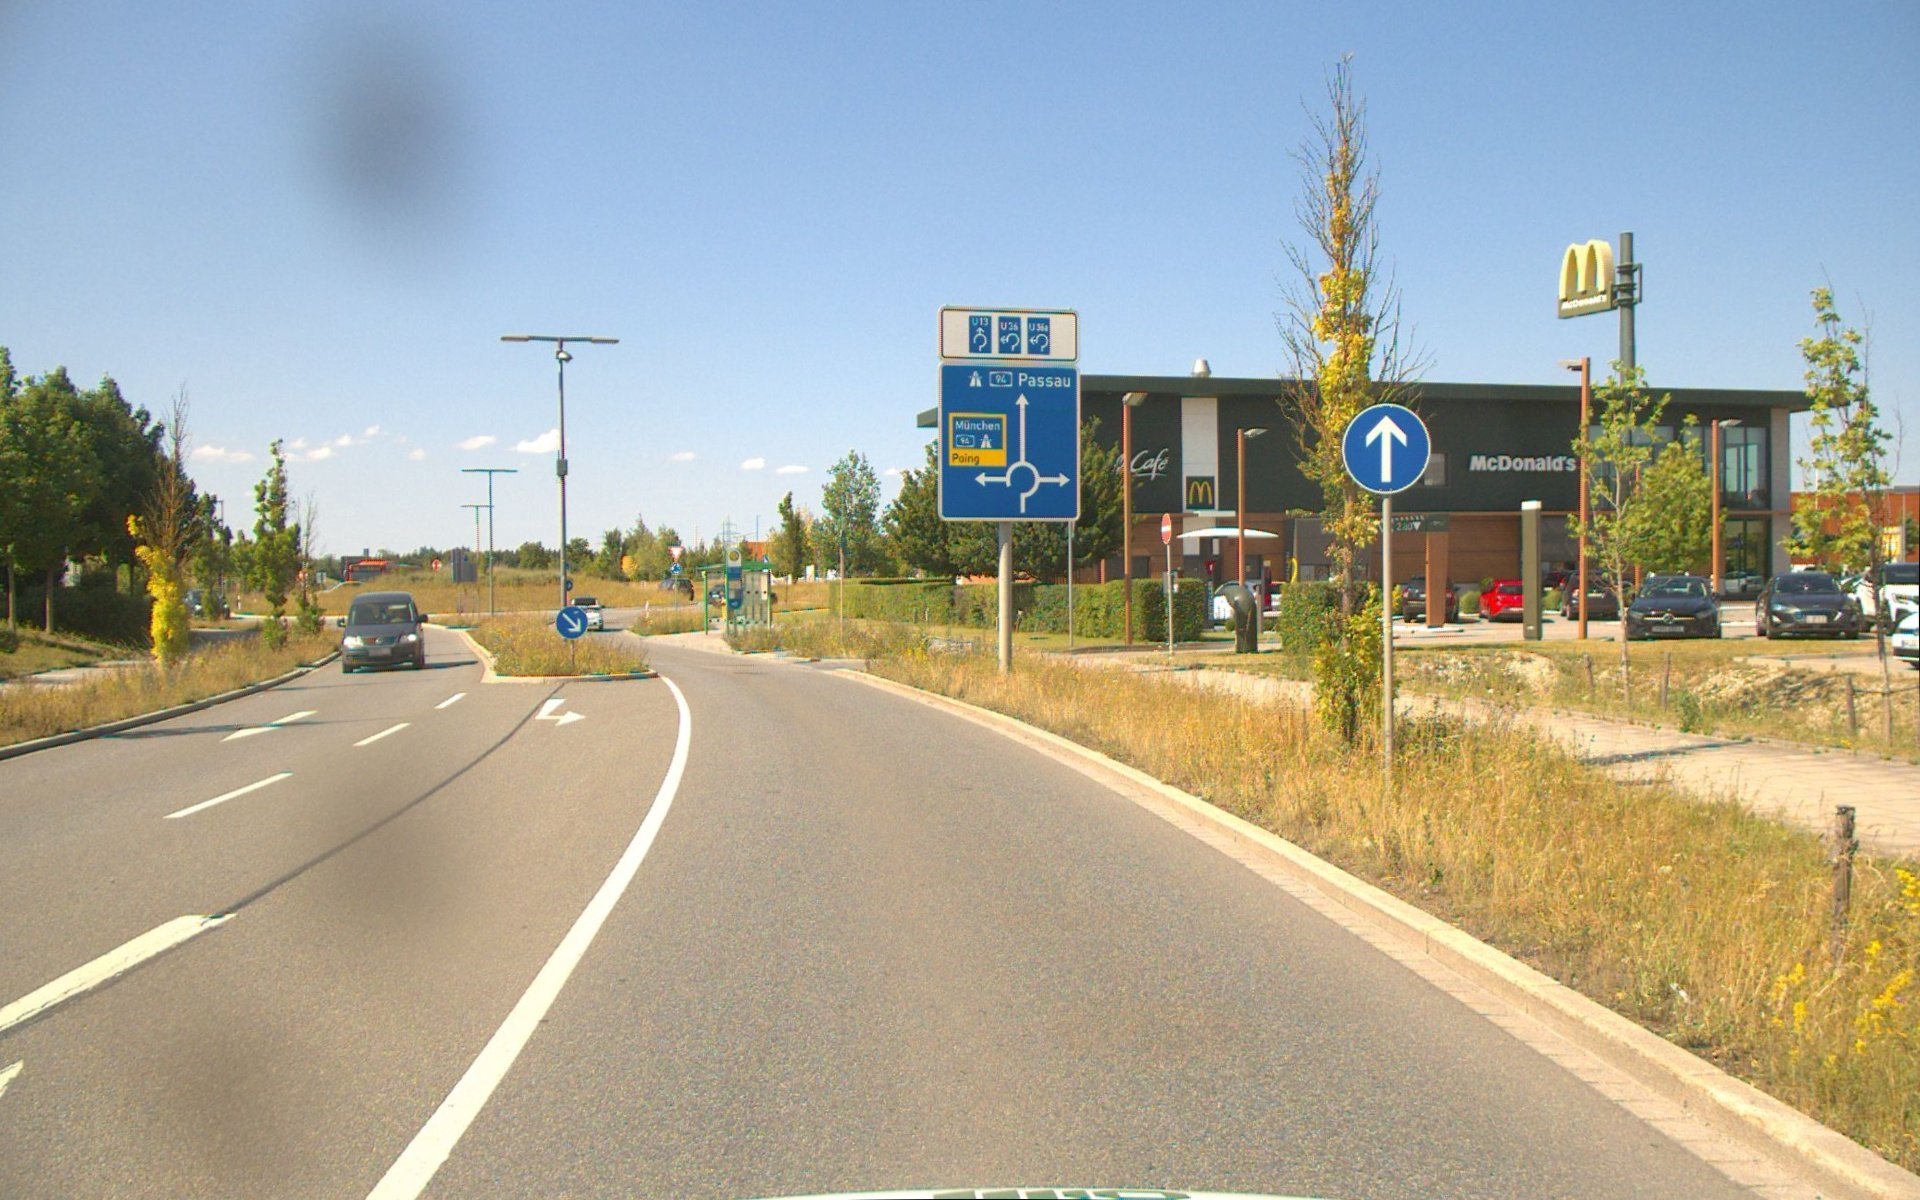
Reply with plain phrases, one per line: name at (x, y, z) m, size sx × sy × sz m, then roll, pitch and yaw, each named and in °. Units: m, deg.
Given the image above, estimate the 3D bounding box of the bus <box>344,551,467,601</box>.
bus at (-40.304, -1.838, 120.802) m, size 2.727 × 3.132 × 12.217 m, roll -1°, pitch 2°, yaw 11°

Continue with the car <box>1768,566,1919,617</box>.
car at (25.882, -0.240, 48.391) m, size 3.911 × 1.397 × 1.796 m, roll -1°, pitch 0°, yaw 29°

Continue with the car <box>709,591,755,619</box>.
car at (-12.998, 0.255, 94.534) m, size 1.730 × 1.543 × 3.802 m, roll -1°, pitch 0°, yaw 6°

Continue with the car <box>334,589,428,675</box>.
car at (-13.644, 0.706, 39.129) m, size 1.921 × 1.825 × 4.403 m, roll -2°, pitch 1°, yaw -18°

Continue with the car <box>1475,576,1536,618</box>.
car at (19.903, -0.127, 60.509) m, size 1.754 × 1.459 × 4.003 m, roll -1°, pitch 0°, yaw 13°

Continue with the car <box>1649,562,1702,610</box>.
car at (27.242, -0.528, 62.972) m, size 1.756 × 1.731 × 3.998 m, roll -1°, pitch 0°, yaw 24°

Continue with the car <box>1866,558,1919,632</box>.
car at (22.103, -0.144, 38.243) m, size 1.750 × 1.607 × 4.166 m, roll -1°, pitch 0°, yaw 25°

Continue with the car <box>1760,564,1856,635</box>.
car at (18.938, -0.028, 37.053) m, size 1.750 × 1.487 × 4.166 m, roll -1°, pitch 0°, yaw 25°

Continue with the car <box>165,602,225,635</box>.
car at (-40.519, 0.991, 87.569) m, size 1.749 × 1.570 × 4.178 m, roll -4°, pitch 1°, yaw -40°

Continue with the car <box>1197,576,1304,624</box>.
car at (9.329, -0.008, 53.360) m, size 1.764 × 1.459 × 3.981 m, roll -1°, pitch 0°, yaw -17°

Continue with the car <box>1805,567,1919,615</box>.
car at (28.087, -0.283, 50.629) m, size 3.911 × 1.397 × 1.796 m, roll -1°, pitch 0°, yaw 29°

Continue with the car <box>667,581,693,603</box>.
car at (-18.873, -0.536, 111.347) m, size 1.588 × 1.459 × 3.781 m, roll -1°, pitch 0°, yaw -12°

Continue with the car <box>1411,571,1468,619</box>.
car at (17.178, -0.184, 59.364) m, size 1.754 × 1.632 × 4.003 m, roll -1°, pitch 0°, yaw 13°

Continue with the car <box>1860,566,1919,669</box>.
car at (16.457, 0.207, 25.395) m, size 4.444 × 1.516 × 1.864 m, roll -2°, pitch 1°, yaw -10°

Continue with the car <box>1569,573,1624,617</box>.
car at (23.610, -0.205, 61.307) m, size 1.756 × 1.539 × 3.999 m, roll -1°, pitch 0°, yaw 23°

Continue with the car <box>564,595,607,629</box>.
car at (-16.851, 0.515, 74.381) m, size 1.591 × 1.459 × 3.774 m, roll -1°, pitch 0°, yaw -17°

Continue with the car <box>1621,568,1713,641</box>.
car at (15.414, 0.064, 35.967) m, size 1.663 × 1.487 × 4.166 m, roll -1°, pitch 0°, yaw 25°
